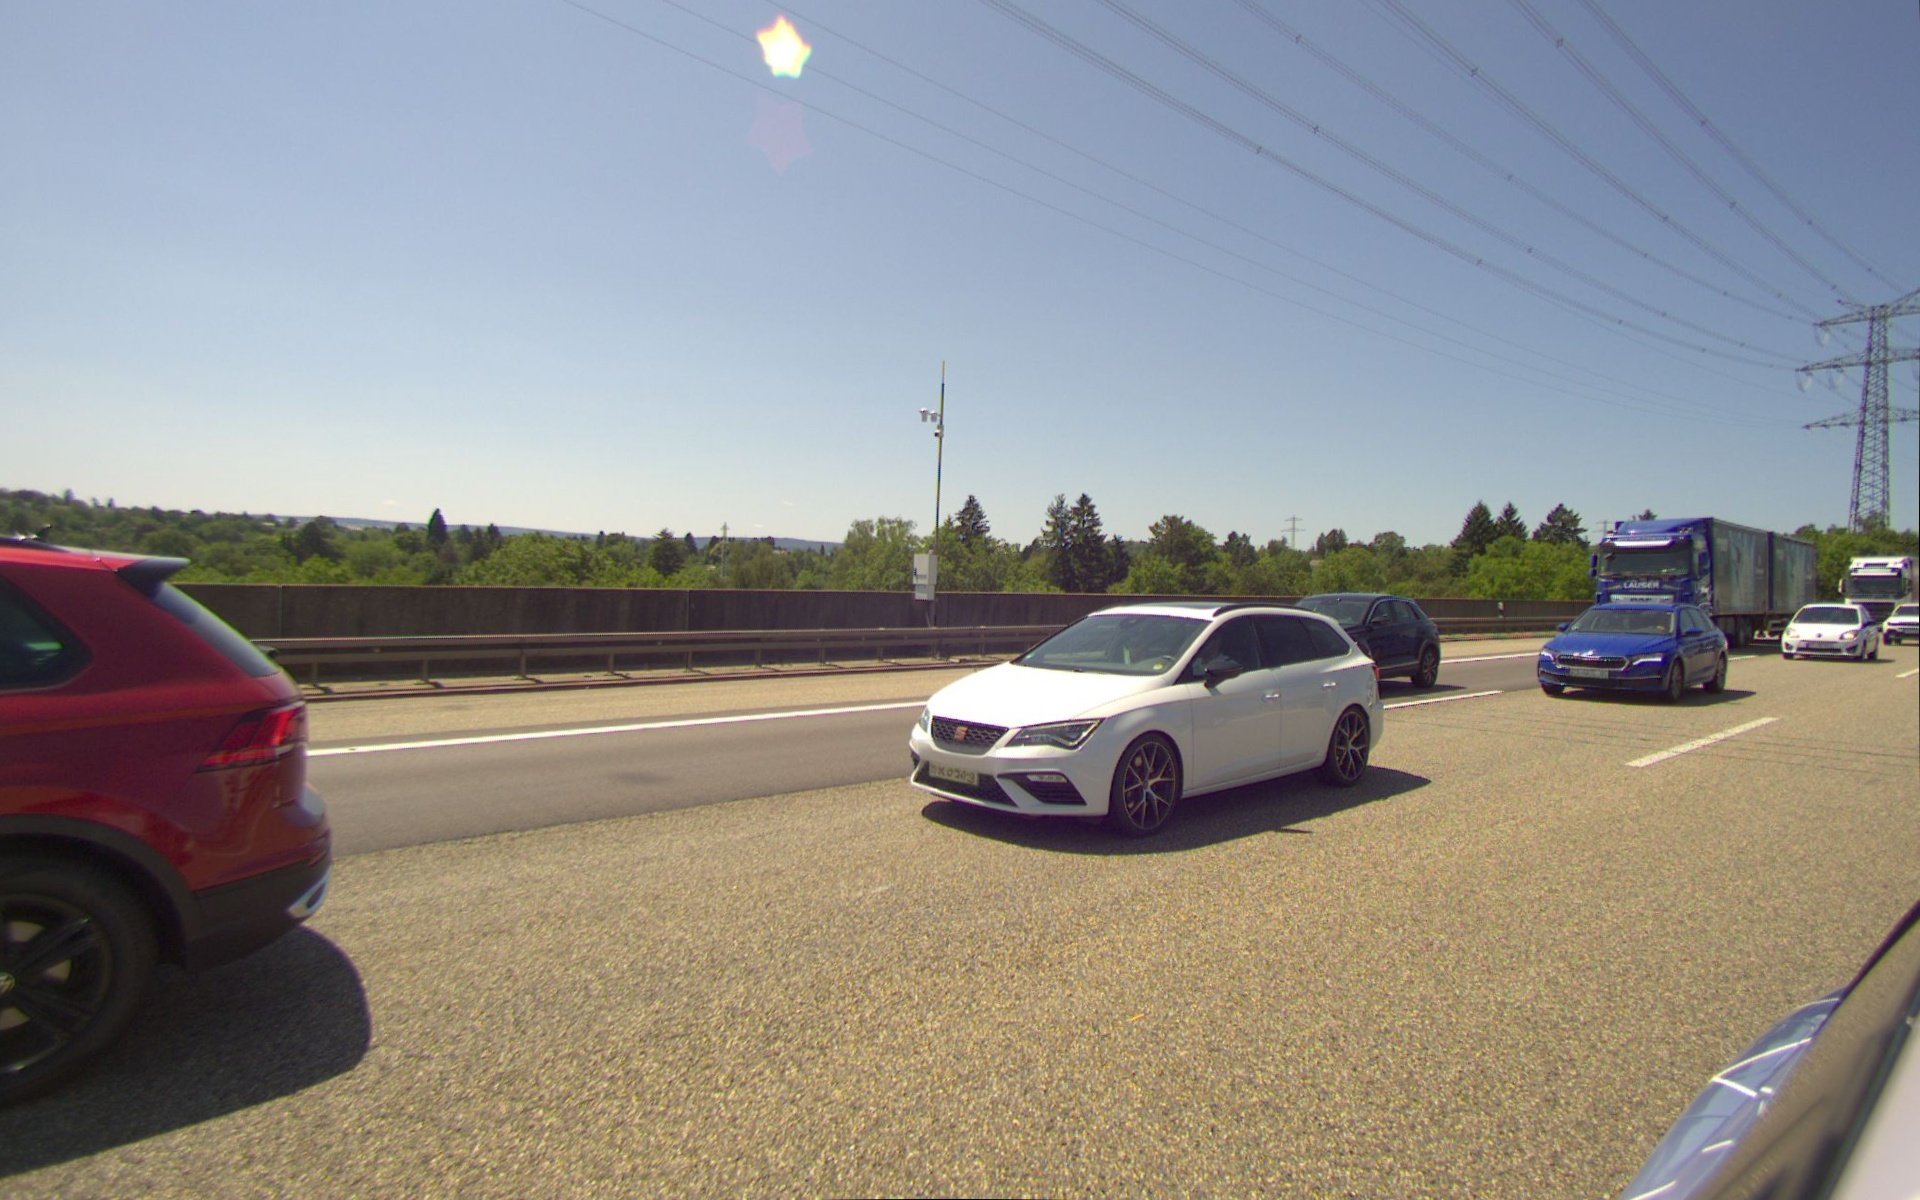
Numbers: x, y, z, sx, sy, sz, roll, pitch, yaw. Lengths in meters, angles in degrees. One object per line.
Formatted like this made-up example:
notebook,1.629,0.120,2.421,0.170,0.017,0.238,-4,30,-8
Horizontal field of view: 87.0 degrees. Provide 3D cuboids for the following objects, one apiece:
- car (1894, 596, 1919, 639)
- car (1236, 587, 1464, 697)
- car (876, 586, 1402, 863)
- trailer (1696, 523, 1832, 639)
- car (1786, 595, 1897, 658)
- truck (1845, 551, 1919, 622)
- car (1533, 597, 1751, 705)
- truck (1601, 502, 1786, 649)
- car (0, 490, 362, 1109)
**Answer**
car,35.889,0.622,37.298,4.023,1.522,1.761,0,1,-42
car,6.341,0.580,16.255,4.034,1.546,1.739,0,0,-41
car,1.514,0.672,7.572,4.003,1.508,1.841,0,0,-42
trailer,30.832,-0.673,38.657,8.330,3.994,2.571,0,0,-41
car,23.320,0.651,26.726,4.024,1.522,1.761,0,1,-42
truck,52.347,-0.727,56.496,10.776,3.604,2.983,0,0,-41
car,10.796,0.705,15.916,4.135,1.463,1.739,0,1,-40
truck,23.798,-0.703,32.535,10.263,4.118,2.527,0,0,-41
car,-4.100,0.527,2.615,4.151,1.683,1.778,0,1,-41
